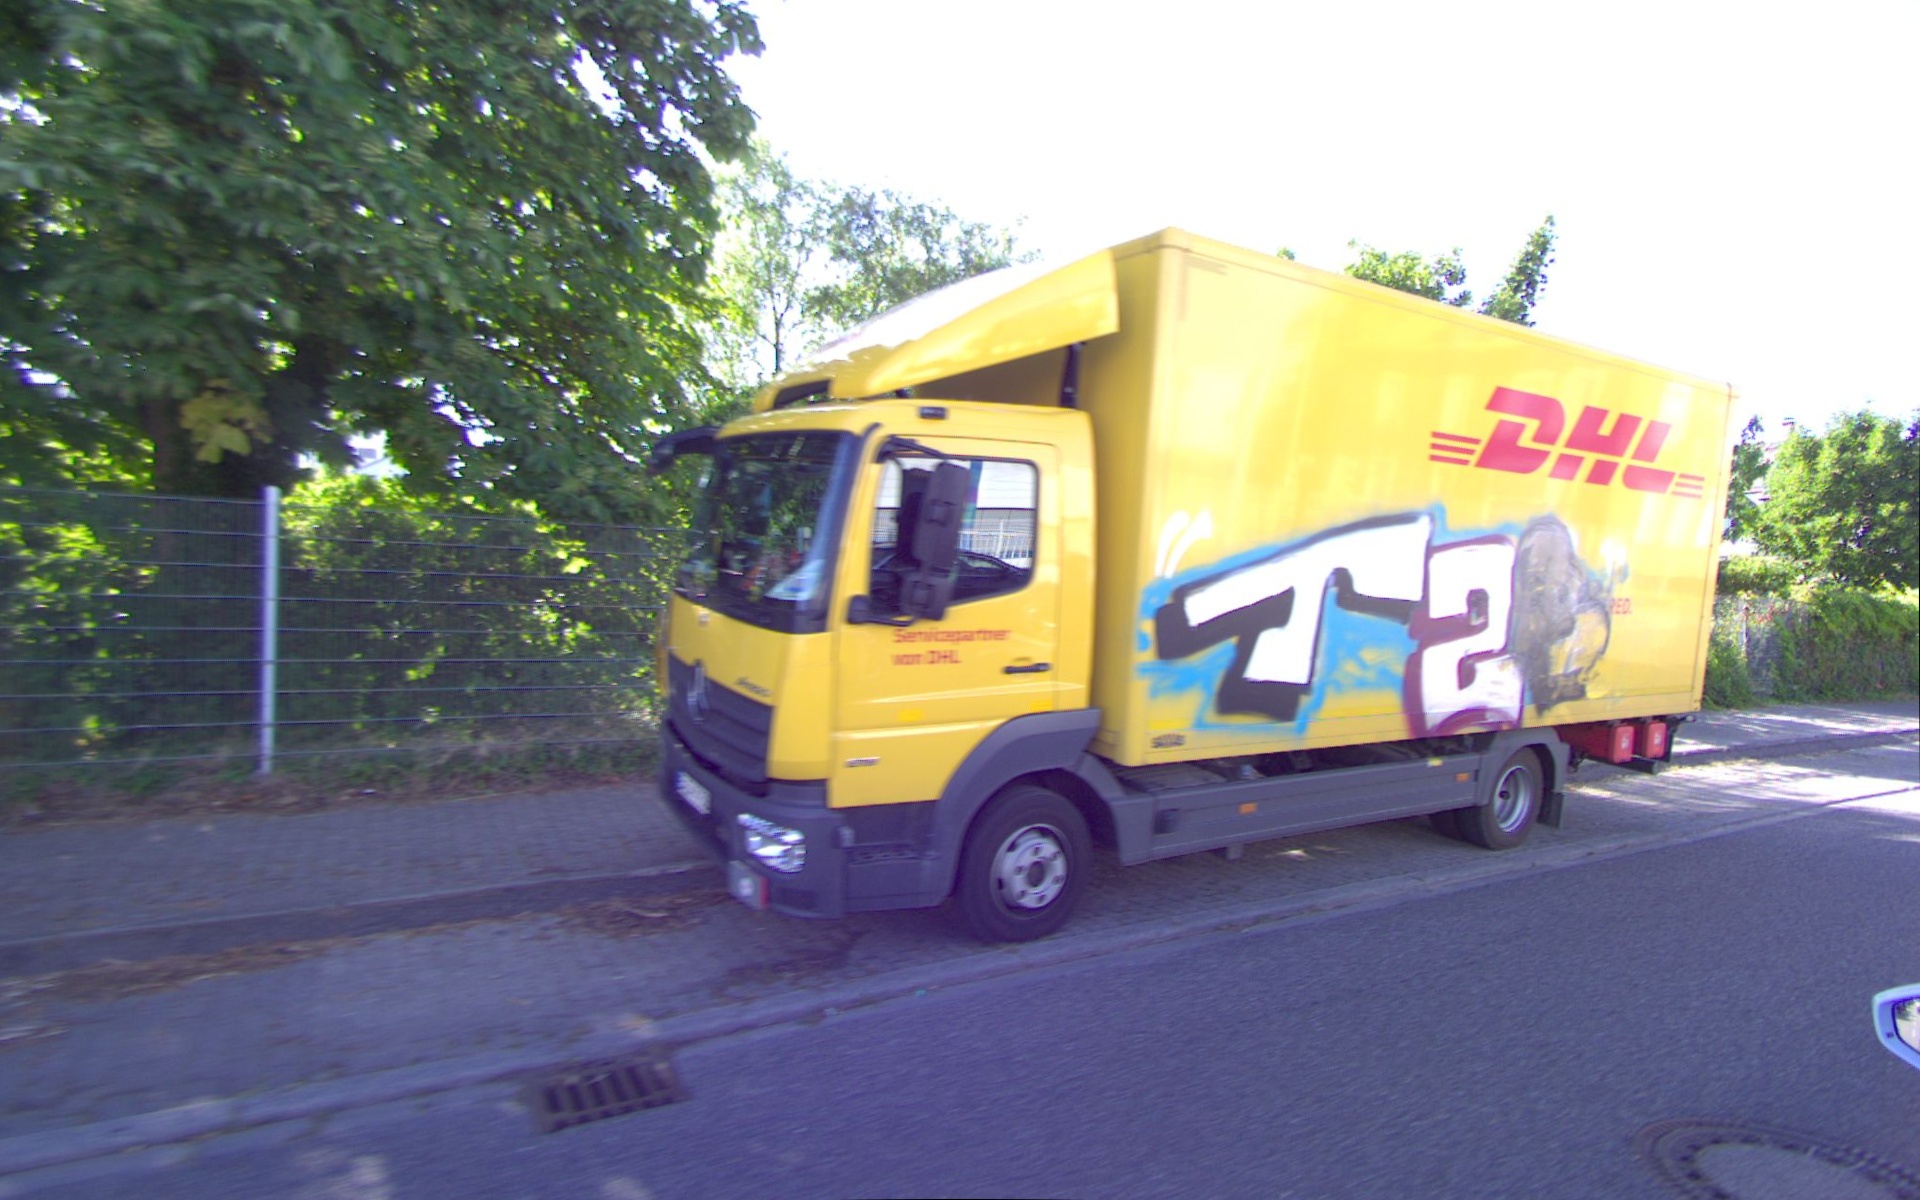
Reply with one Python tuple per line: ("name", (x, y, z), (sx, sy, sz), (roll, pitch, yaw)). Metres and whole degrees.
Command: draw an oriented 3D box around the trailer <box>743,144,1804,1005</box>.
("trailer", (2.791, -0.008, 7.482), (8.070, 3.489, 2.975), (2, 0, -32))
